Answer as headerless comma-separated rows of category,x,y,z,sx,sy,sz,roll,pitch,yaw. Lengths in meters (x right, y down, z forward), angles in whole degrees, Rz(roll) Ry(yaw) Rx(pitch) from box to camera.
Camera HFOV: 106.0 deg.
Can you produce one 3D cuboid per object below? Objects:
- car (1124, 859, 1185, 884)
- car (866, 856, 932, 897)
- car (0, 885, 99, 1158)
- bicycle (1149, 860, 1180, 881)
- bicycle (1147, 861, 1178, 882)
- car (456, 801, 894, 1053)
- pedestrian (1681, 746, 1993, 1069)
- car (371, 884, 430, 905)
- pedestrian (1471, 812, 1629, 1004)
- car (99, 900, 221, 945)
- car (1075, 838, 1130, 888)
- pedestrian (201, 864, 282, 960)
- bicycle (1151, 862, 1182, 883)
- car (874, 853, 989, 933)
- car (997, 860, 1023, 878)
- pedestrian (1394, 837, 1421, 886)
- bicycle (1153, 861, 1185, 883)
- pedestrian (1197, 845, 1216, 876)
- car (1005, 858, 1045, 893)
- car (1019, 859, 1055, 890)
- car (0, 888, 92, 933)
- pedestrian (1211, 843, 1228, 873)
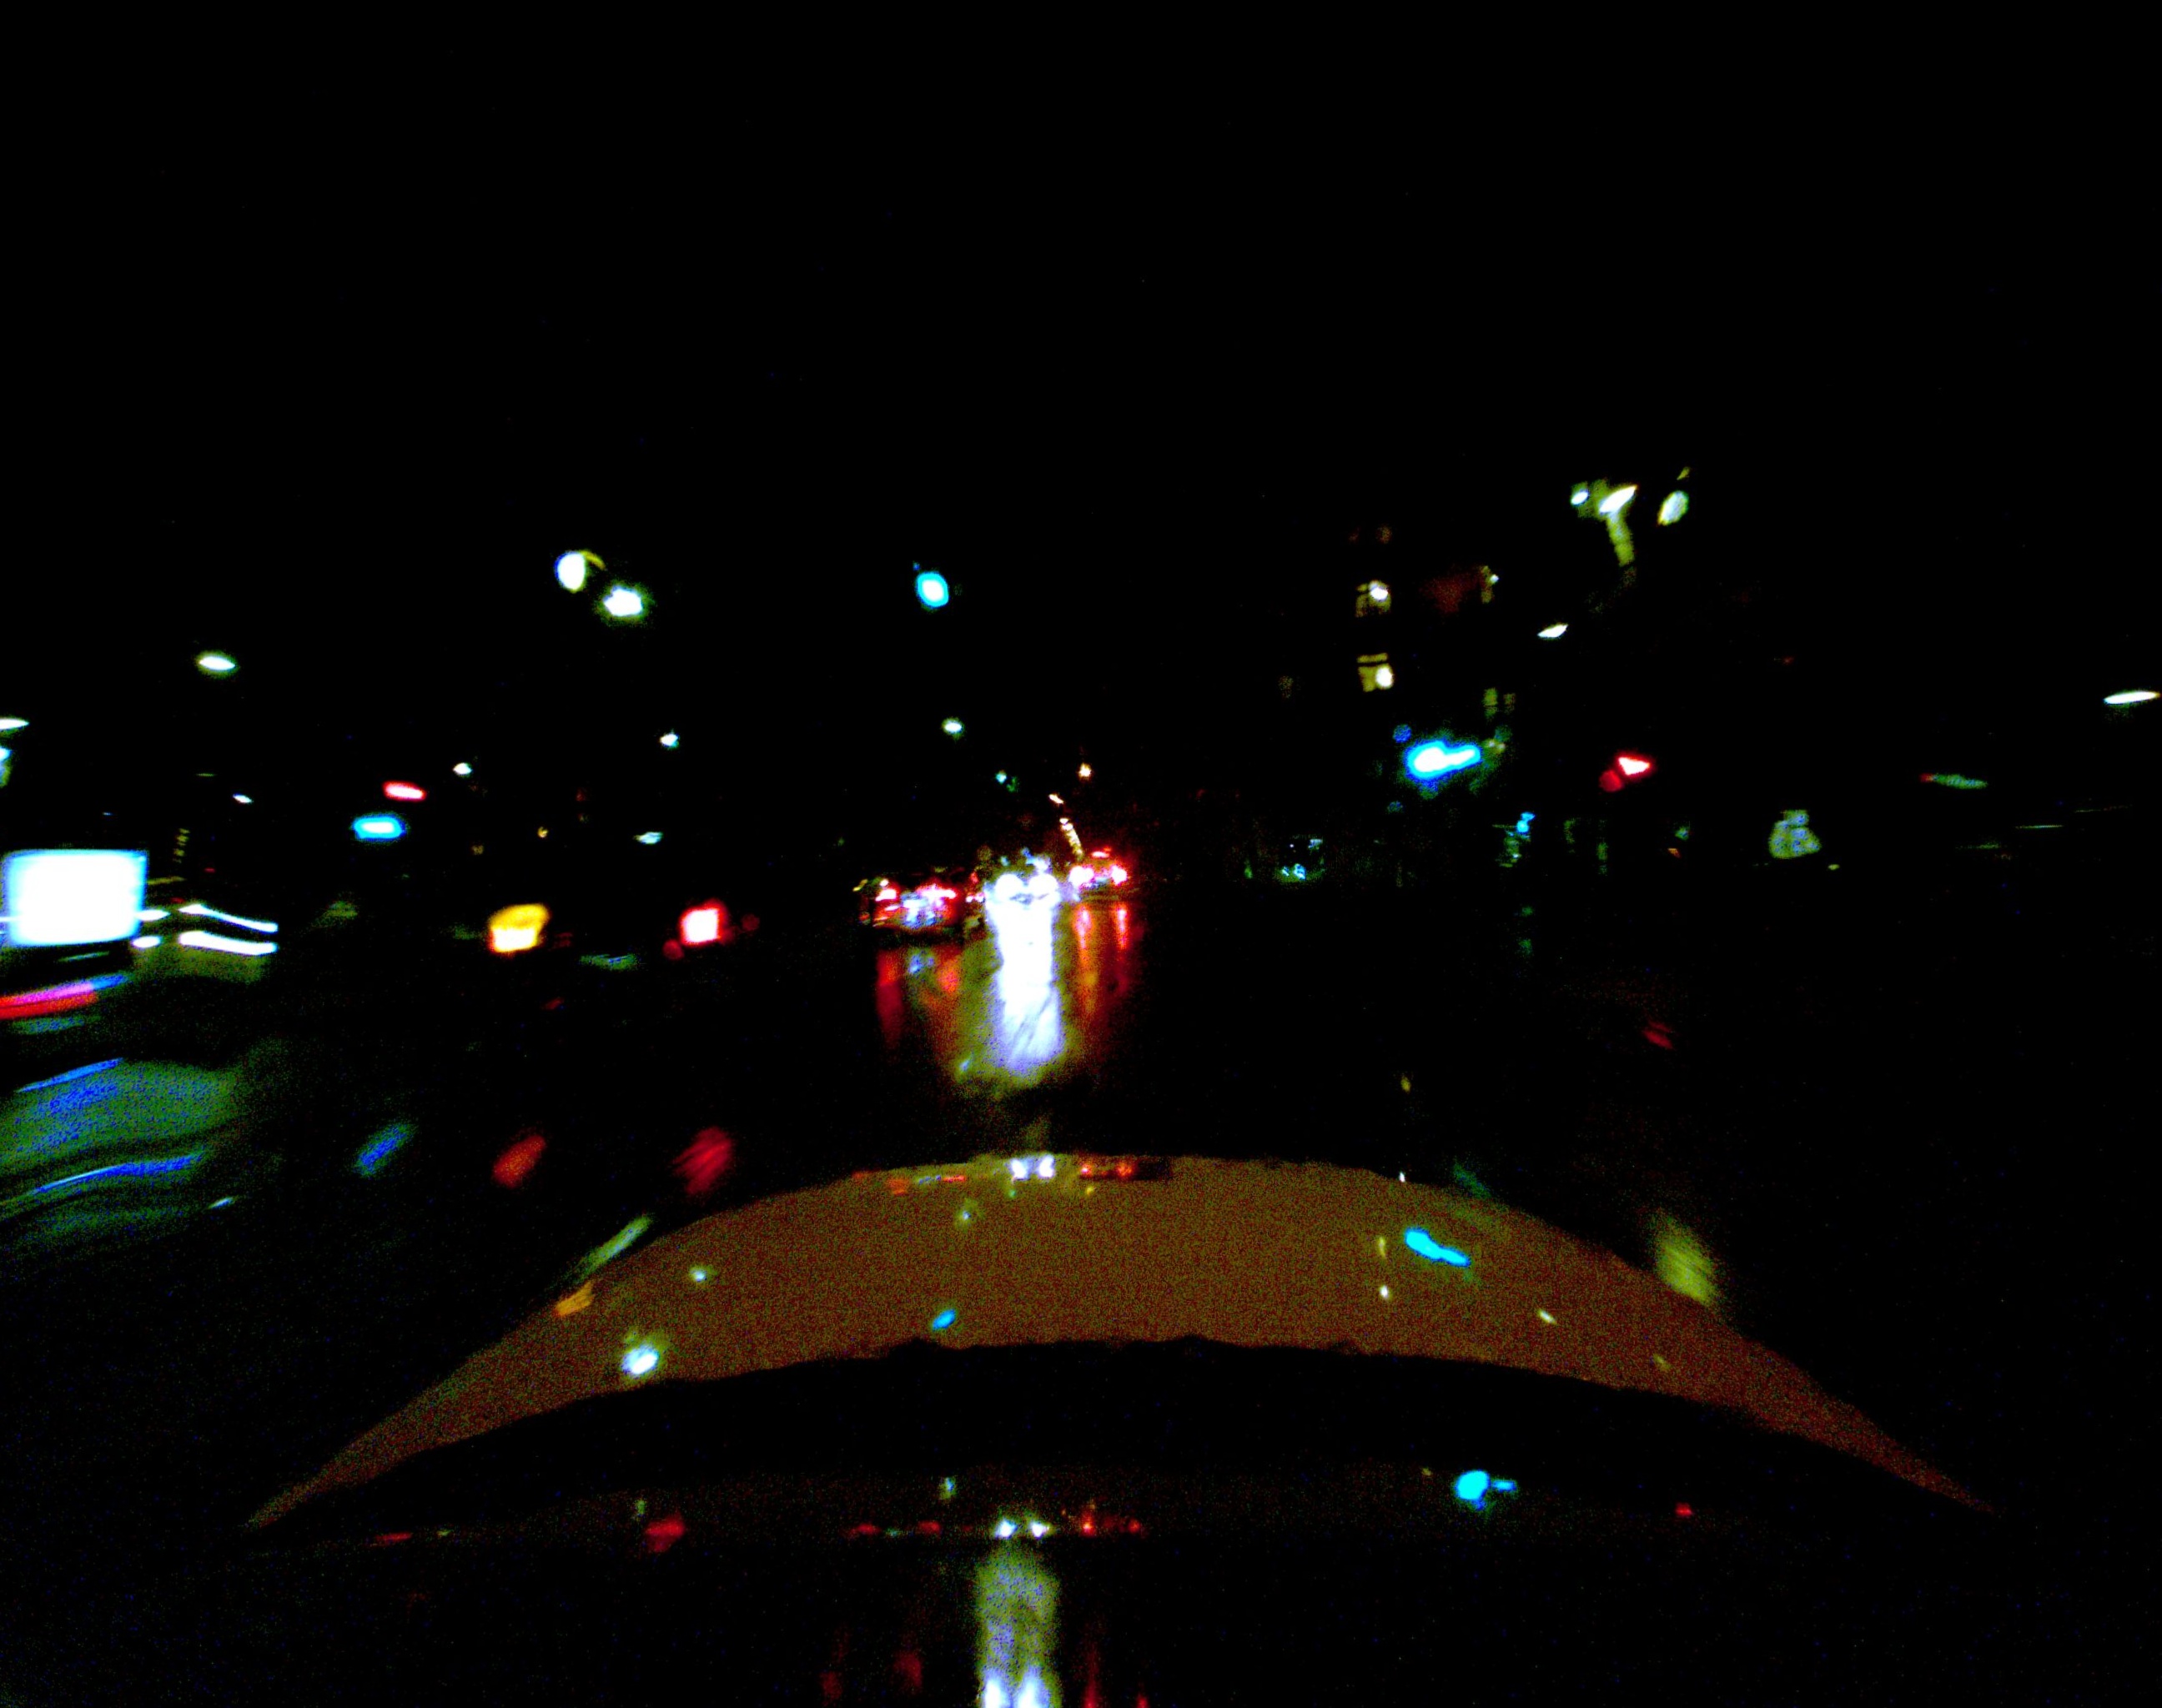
car,5.269,1.236,58.079,4.206,1.457,1.836,-3,0,-38
car,-8.699,1.047,39.291,1.883,1.780,4.339,-2,-1,4
car,-6.884,0.998,2.931,1.641,1.511,4.107,-4,0,-1
bicycle,5.501,1.108,53.856,1.894,1.252,0.595,-3,-2,-5
bicycle,5.462,1.160,54.492,1.894,1.252,0.595,-3,-2,-5
car,-3.949,0.592,9.291,2.025,1.953,5.204,-4,0,3
pedestrian,4.650,0.314,5.103,1.102,1.825,0.852,-2,0,4
car,-61.209,3.643,73.267,4.283,1.780,2.098,-2,-1,19
pedestrian,4.725,0.525,8.293,1.101,1.825,0.852,-2,0,6
car,-36.878,2.727,32.612,4.281,1.569,1.908,-2,-1,23
car,0.870,0.405,35.330,2.161,1.972,4.301,-2,-1,0
pedestrian,-15.896,1.073,15.424,0.761,1.736,0.976,-2,-1,38
bicycle,5.595,1.197,53.170,1.894,1.252,0.595,-3,-2,-5
car,-3.269,0.815,18.716,1.813,1.542,4.723,-2,-1,-1
car,-7.837,1.653,89.449,1.996,1.972,4.276,-1,-1,-18
pedestrian,14.258,0.320,35.530,0.965,2.013,1.021,-2,2,24
bicycle,5.617,1.155,52.154,1.894,1.252,0.709,-3,-2,-5
pedestrian,7.721,0.399,50.103,0.954,1.882,1.000,-2,-1,0
car,-2.618,0.989,39.003,1.702,1.542,3.985,-2,-1,-2
car,-2.357,1.083,44.546,1.663,1.562,4.007,-2,-1,0
car,-44.283,2.383,34.400,4.682,1.743,1.908,-2,-1,23
pedestrian,7.792,0.216,45.791,0.778,1.618,1.000,-2,-1,0
